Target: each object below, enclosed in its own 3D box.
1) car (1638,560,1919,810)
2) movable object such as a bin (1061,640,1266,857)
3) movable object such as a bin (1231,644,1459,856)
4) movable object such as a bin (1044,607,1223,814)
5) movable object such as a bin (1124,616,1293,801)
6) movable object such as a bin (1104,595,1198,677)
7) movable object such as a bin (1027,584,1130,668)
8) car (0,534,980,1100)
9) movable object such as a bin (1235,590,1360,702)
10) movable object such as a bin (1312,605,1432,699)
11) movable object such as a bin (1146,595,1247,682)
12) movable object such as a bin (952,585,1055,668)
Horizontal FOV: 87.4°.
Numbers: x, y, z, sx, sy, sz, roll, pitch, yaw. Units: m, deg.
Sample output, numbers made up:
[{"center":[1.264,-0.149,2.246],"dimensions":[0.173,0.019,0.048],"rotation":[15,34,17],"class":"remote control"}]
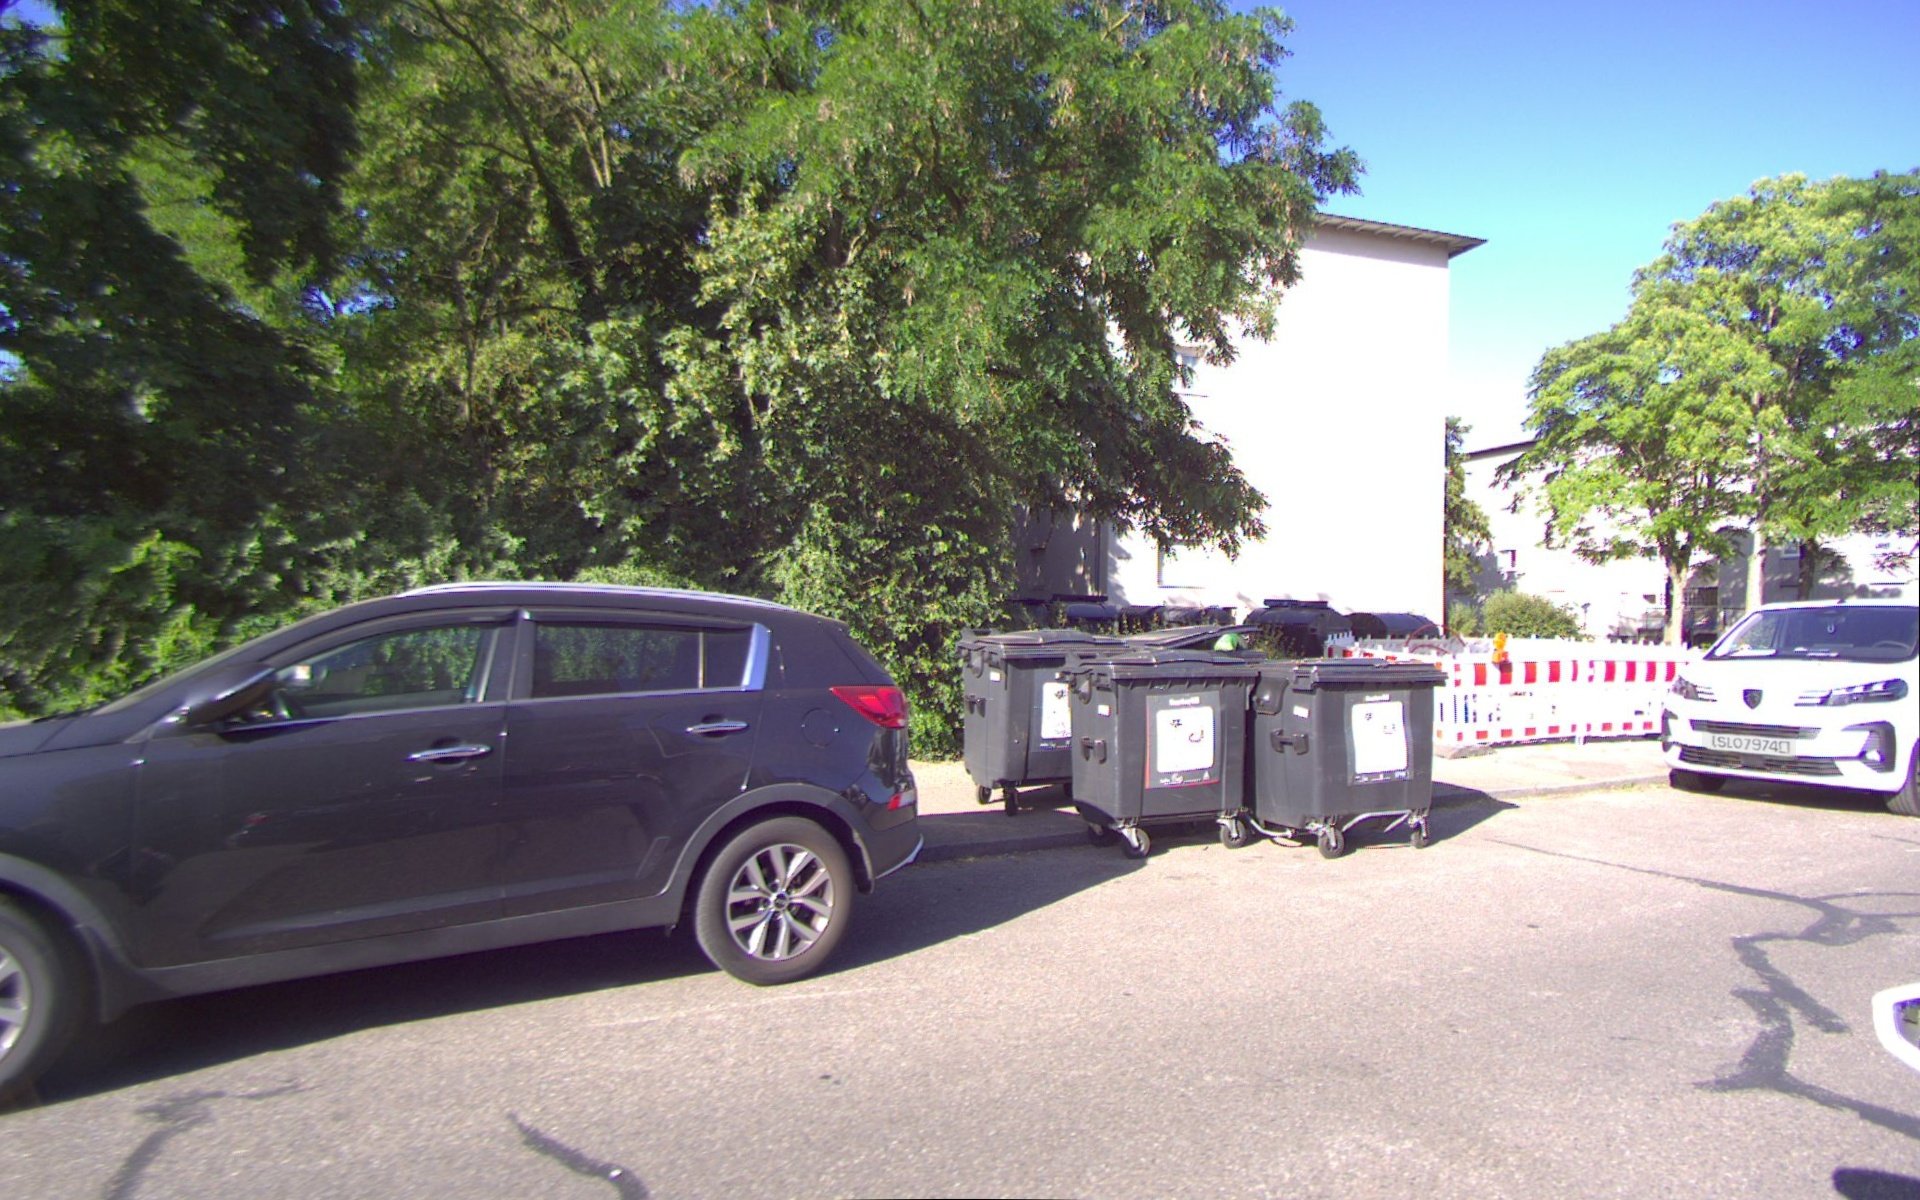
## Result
[{"center":[8.984,0.741,9.902],"dimensions":[4.611,1.987,1.856],"rotation":[2,-1,-28],"class":"car"},{"center":[1.406,0.974,6.933],"dimensions":[1.252,1.357,0.607],"rotation":[2,-1,-25],"class":"movable object such as a bin"},{"center":[2.696,0.990,7.068],"dimensions":[1.302,1.333,0.802],"rotation":[1,0,-22],"class":"movable object such as a bin"},{"center":[1.371,0.819,8.020],"dimensions":[0.885,1.487,1.053],"rotation":[2,0,-37],"class":"movable object such as a bin"},{"center":[2.099,0.863,8.548],"dimensions":[0.885,1.419,1.053],"rotation":[1,0,-37],"class":"movable object such as a bin"},{"center":[3.686,0.691,19.451],"dimensions":[1.263,1.509,1.254],"rotation":[2,-1,-26],"class":"movable object such as a bin"},{"center":[2.233,0.498,19.085],"dimensions":[1.489,1.509,1.272],"rotation":[2,-1,-24],"class":"movable object such as a bin"},{"center":[-2.141,0.691,4.292],"dimensions":[4.198,1.660,1.668],"rotation":[2,-2,-29],"class":"car"},{"center":[5.036,0.666,15.018],"dimensions":[1.266,1.572,1.251],"rotation":[2,-1,-33],"class":"movable object such as a bin"},{"center":[6.572,0.800,16.048],"dimensions":[1.247,1.420,1.270],"rotation":[2,-1,-29],"class":"movable object such as a bin"},{"center":[4.284,0.698,18.274],"dimensions":[1.263,1.509,1.254],"rotation":[2,-1,-26],"class":"movable object such as a bin"},{"center":[0.777,0.488,18.327],"dimensions":[1.487,1.427,1.274],"rotation":[2,-1,-21],"class":"movable object such as a bin"}]
